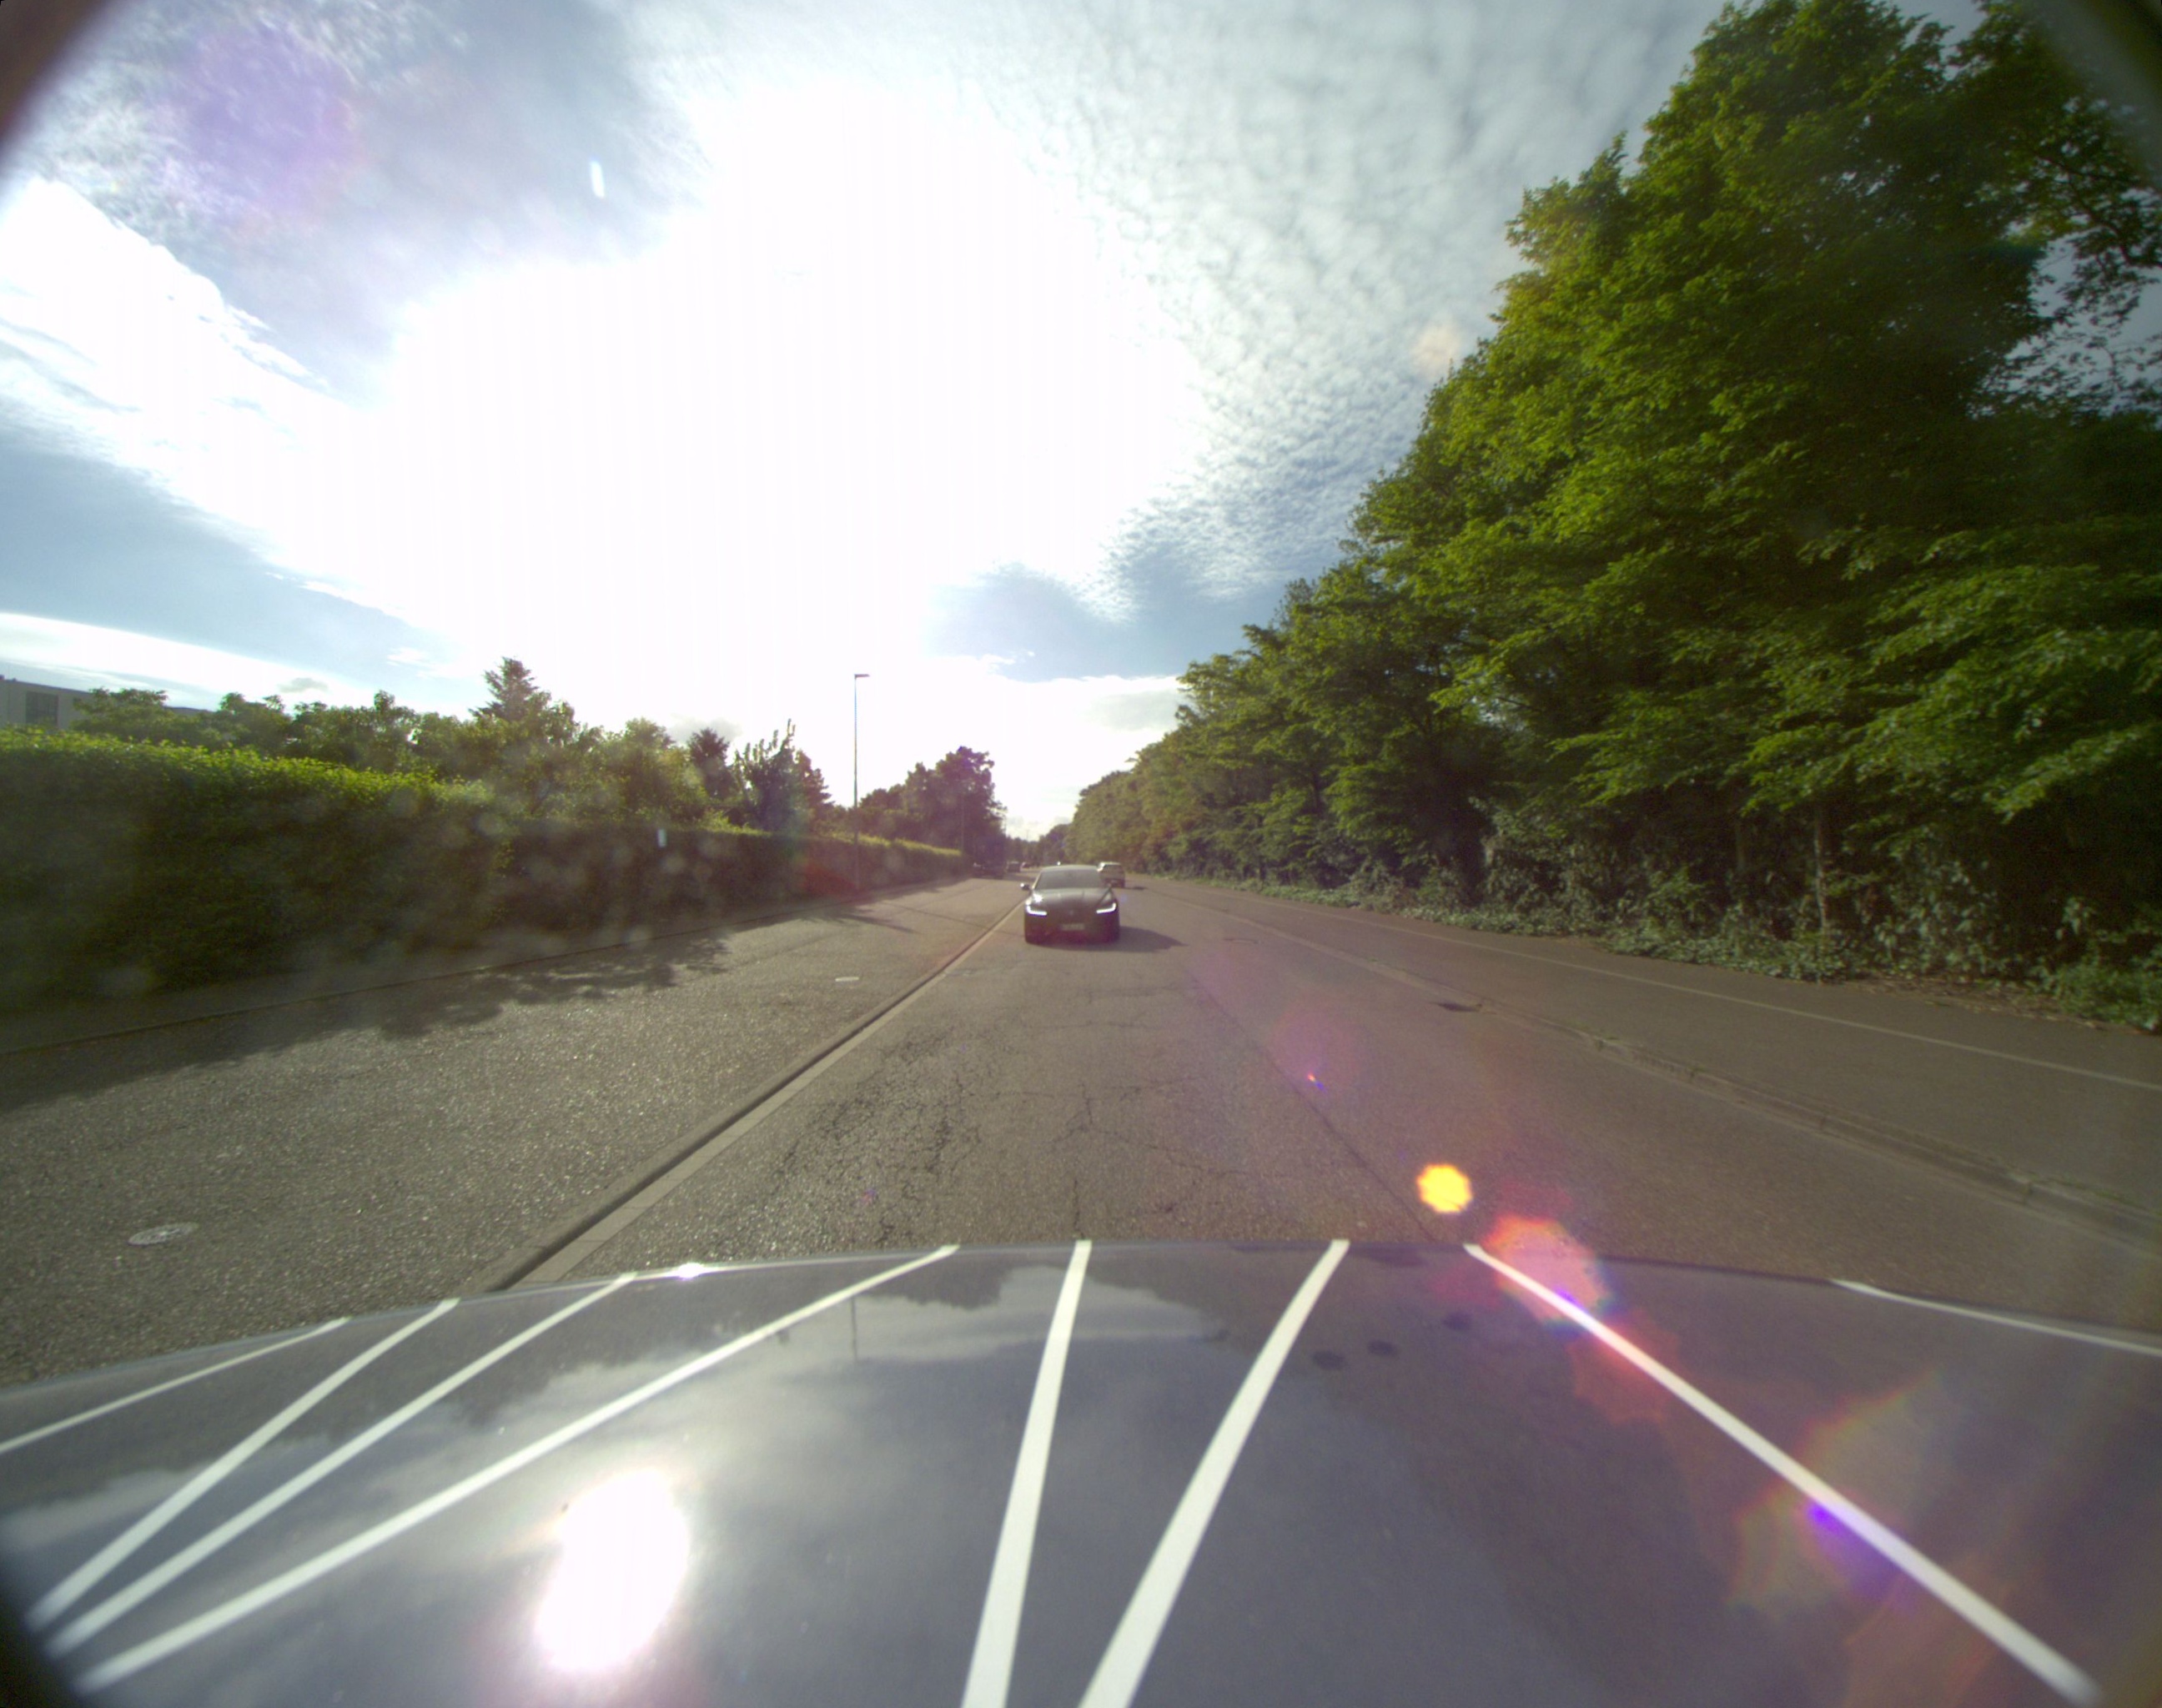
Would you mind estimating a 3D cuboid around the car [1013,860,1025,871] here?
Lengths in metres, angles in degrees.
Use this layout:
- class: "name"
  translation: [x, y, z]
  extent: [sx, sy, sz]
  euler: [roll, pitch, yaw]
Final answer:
- class: "car"
  translation: [-9.211, 1.666, 112.780]
  extent: [1.752, 1.561, 3.860]
  euler: [3, -1, -5]

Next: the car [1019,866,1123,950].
- class: "car"
  translation: [-0.132, 1.037, 16.411]
  extent: [1.936, 1.500, 4.680]
  euler: [0, 0, 1]

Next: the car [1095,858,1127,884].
- class: "car"
  translation: [1.976, 1.124, 50.635]
  extent: [1.807, 1.576, 4.101]
  euler: [1, 0, -2]

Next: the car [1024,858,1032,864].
- class: "car"
  translation: [-13.293, 1.847, 189.533]
  extent: [1.752, 1.379, 3.860]
  euler: [3, -1, -5]

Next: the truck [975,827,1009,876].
- class: "truck"
  translation: [-7.723, -0.150, 66.496]
  extent: [2.603, 3.935, 6.280]
  euler: [4, -1, -6]
